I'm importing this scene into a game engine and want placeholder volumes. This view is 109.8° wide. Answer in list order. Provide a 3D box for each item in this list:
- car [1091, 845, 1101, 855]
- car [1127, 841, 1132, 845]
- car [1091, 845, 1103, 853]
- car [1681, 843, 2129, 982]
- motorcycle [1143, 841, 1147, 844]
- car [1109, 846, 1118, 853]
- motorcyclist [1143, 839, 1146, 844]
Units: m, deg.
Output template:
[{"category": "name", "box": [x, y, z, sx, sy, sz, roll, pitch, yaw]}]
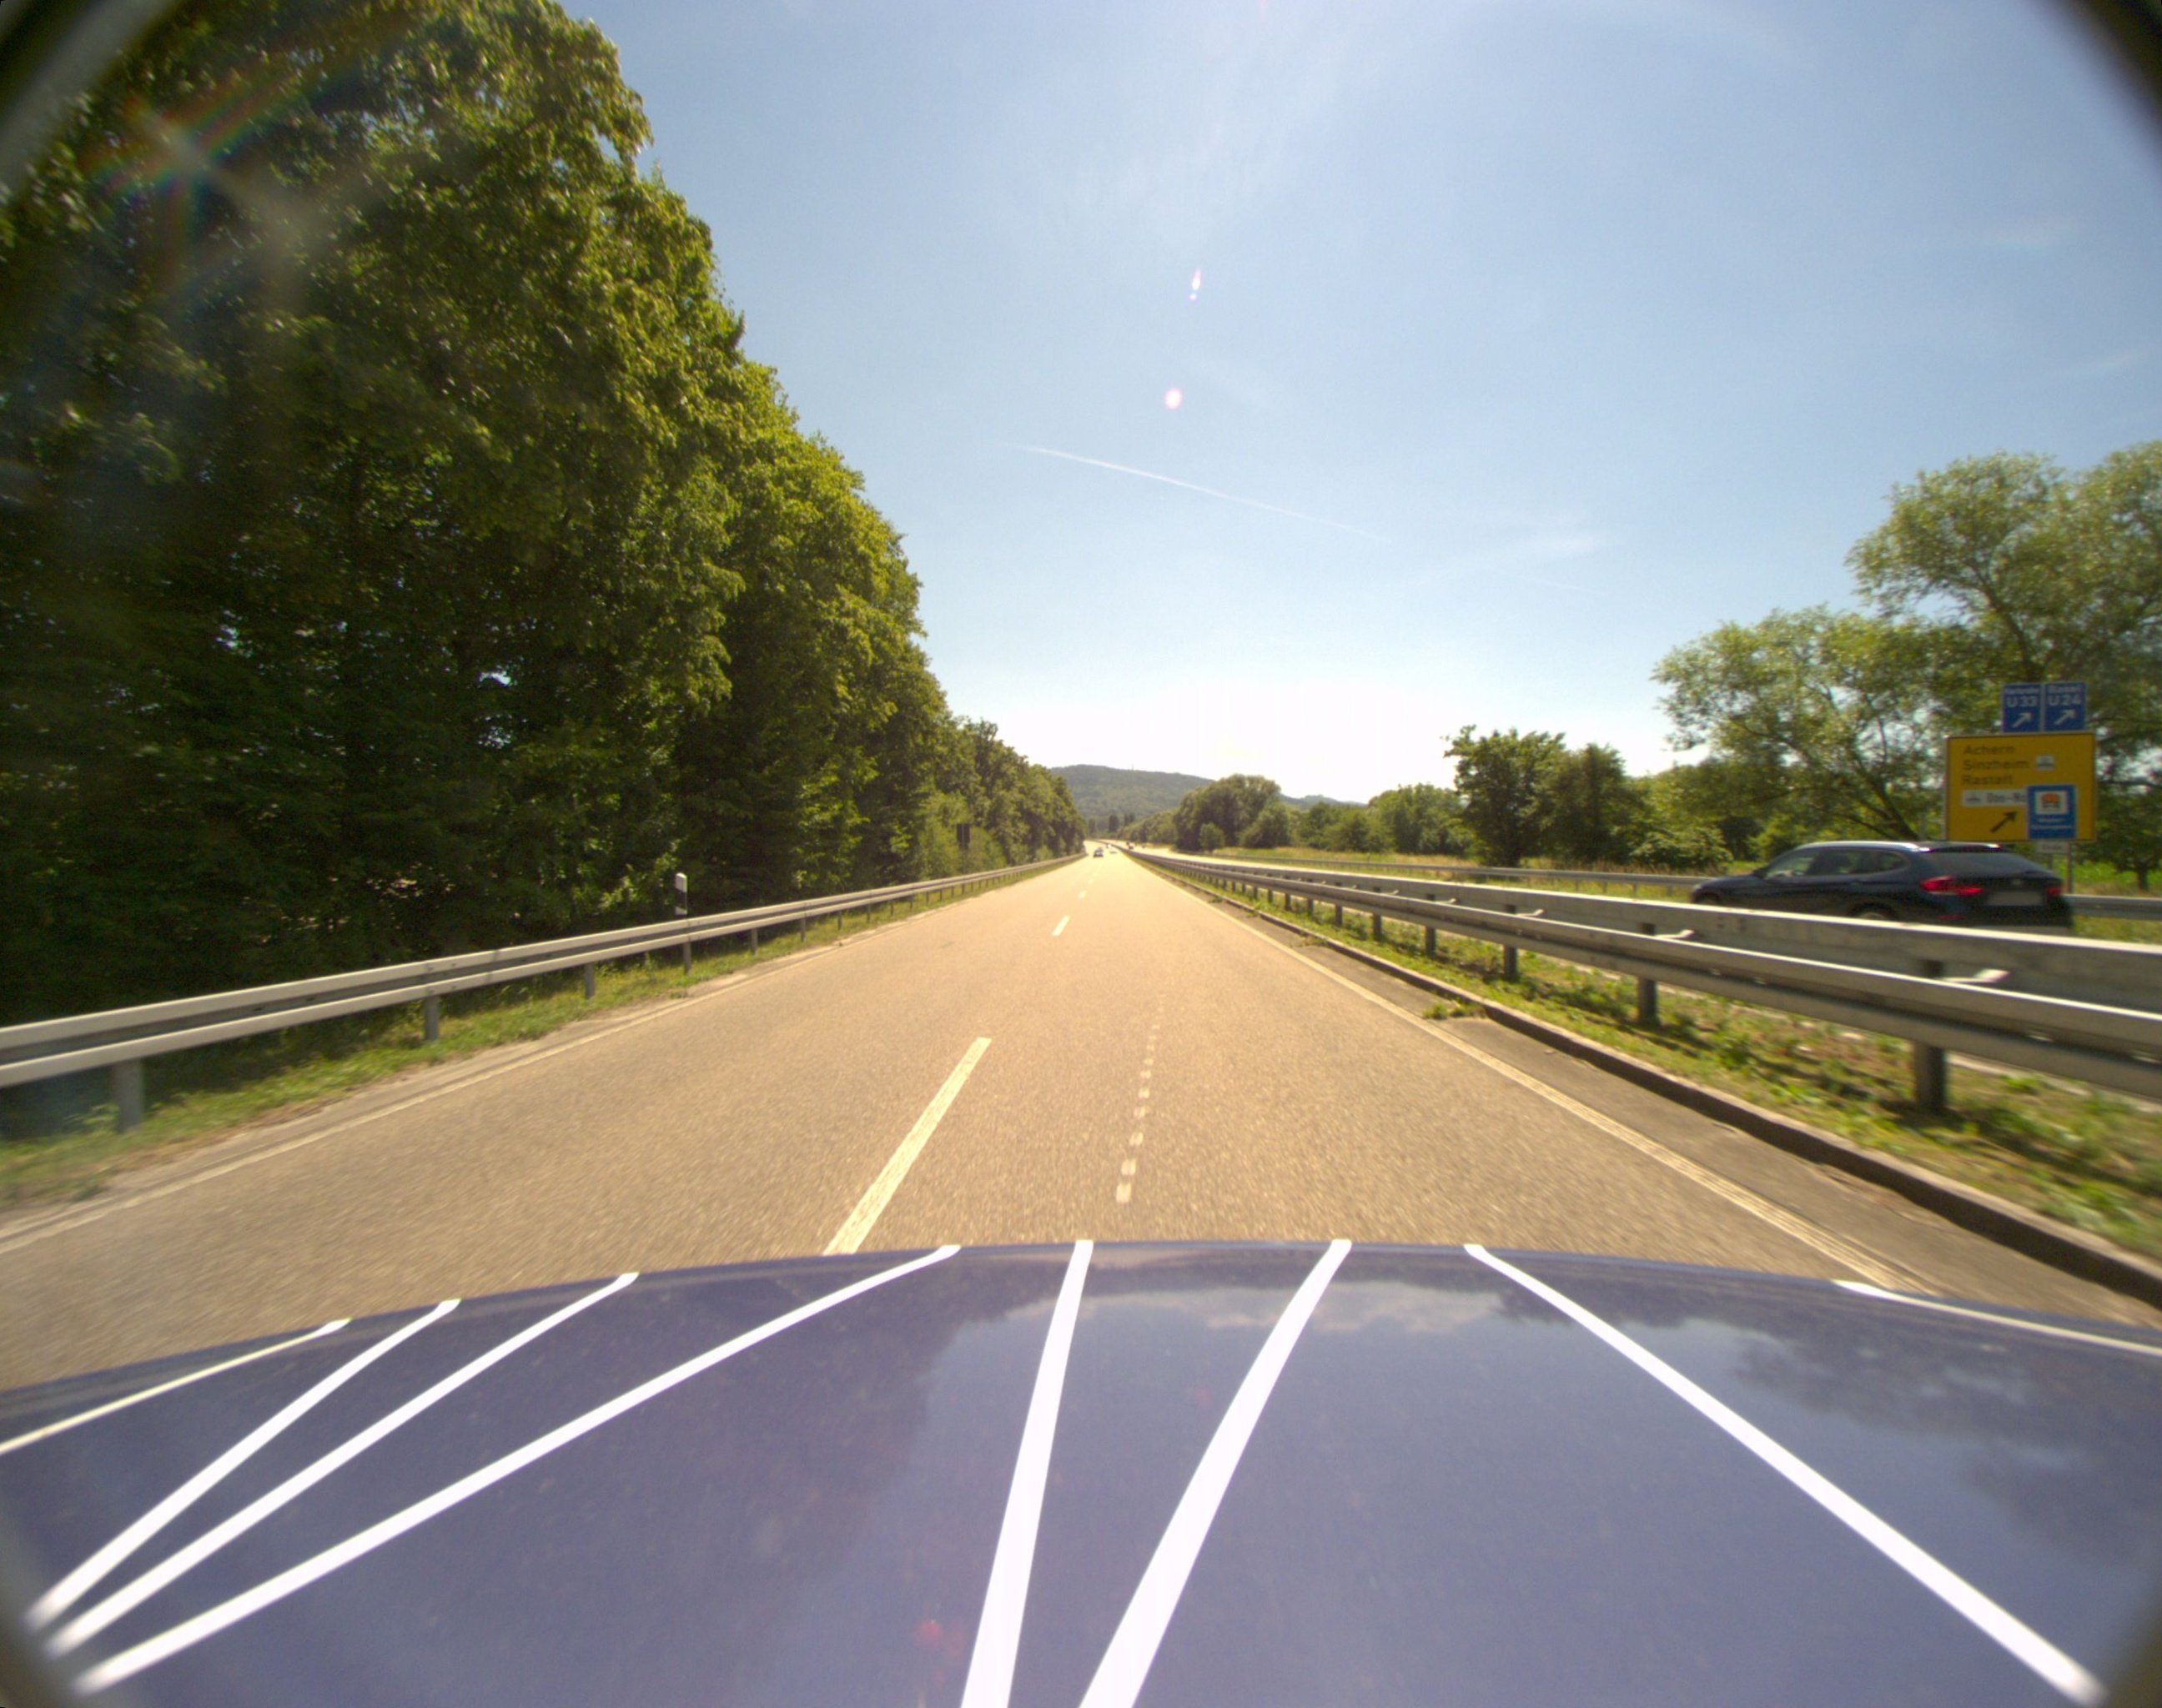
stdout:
[{"category": "car", "box": [2.835, -0.844, 141.890, 1.862, 1.662, 3.999, -2, 2, 1]}, {"category": "car", "box": [16.309, -3.668, 257.694, 1.632, 1.324, 3.535, -2, 1, 2]}, {"category": "car", "box": [2.979, -1.014, 143.169, 1.908, 1.368, 3.891, -2, 2, 5]}, {"category": "car", "box": [11.462, 0.662, 11.196, 1.783, 1.611, 4.506, 1, 1, 2]}, {"category": "motorcycle", "box": [22.105, -3.826, 261.998, 1.066, 1.058, 3.818, 0, 1, 2]}, {"category": "car", "box": [8.277, -1.243, 193.897, 1.908, 1.687, 3.891, -2, 2, 5]}, {"category": "motorcyclist", "box": [22.045, -4.323, 262.132, 0.947, 1.608, 0.809, 0, 1, 1]}]
